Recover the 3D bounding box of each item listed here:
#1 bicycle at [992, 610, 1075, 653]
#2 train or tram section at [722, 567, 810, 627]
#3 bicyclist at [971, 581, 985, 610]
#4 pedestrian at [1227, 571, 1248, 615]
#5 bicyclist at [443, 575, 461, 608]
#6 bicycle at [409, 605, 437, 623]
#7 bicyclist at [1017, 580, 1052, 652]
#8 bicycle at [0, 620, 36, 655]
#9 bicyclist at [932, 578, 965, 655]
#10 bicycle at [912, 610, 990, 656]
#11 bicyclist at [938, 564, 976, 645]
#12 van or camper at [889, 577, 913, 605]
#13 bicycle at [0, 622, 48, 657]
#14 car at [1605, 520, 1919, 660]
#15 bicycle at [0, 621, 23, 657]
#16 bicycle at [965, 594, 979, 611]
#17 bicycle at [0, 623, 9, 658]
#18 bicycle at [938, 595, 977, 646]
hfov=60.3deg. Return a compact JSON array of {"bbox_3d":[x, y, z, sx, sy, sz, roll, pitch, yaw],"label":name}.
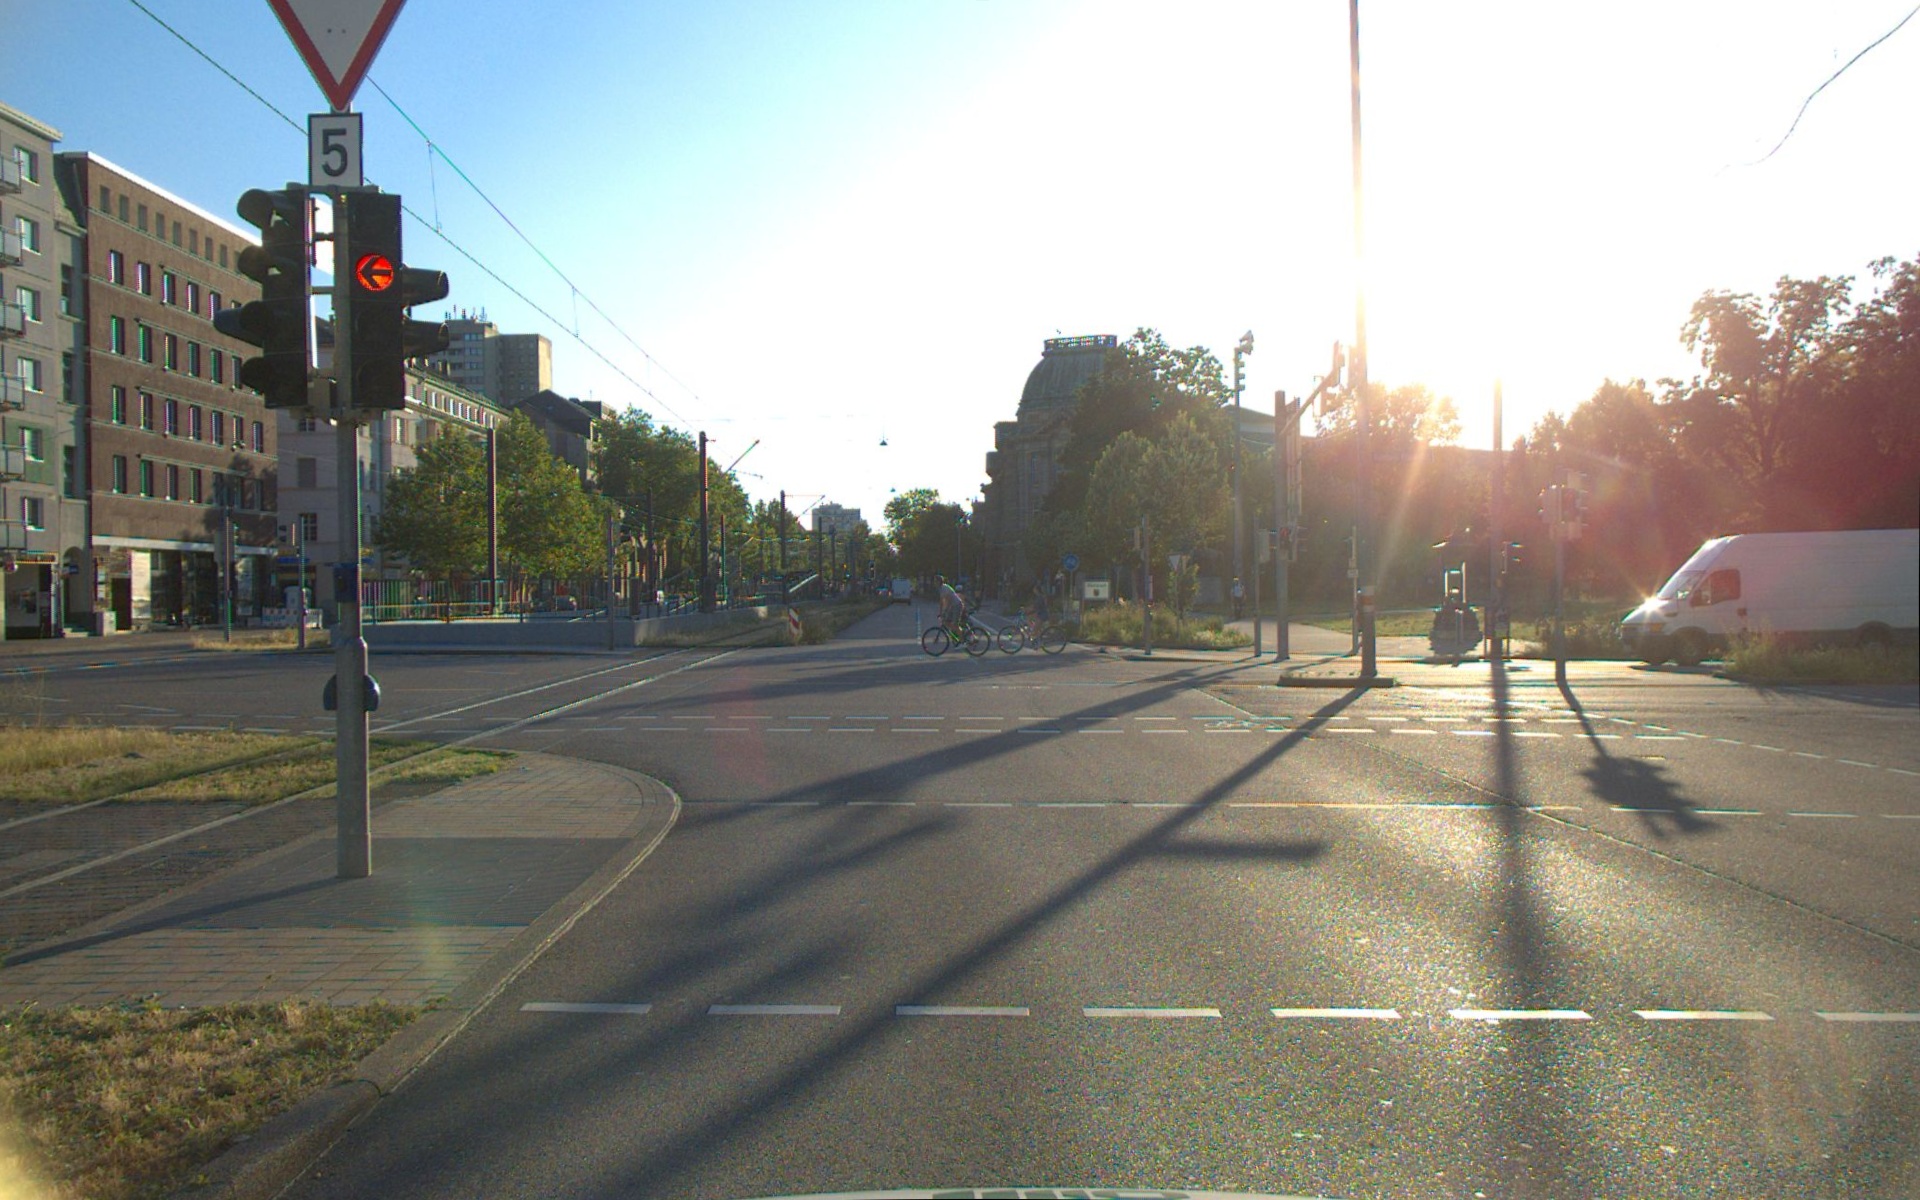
[{"bbox_3d":[1.888,0.804,42.829,2.120,1.102,0.539,0,-1,-1],"label":"bicycle"},{"bbox_3d":[-13.939,-0.332,120.167,4.294,3.916,11.418,-1,2,4],"label":"train or tram section"},{"bbox_3d":[1.257,-0.294,116.568,0.907,2.049,0.850,0,0,-1],"label":"bicyclist"},{"bbox_3d":[11.826,-0.298,70.512,0.815,1.835,0.811,-1,0,14],"label":"pedestrian"},{"bbox_3d":[-32.823,-0.549,106.873,0.780,2.049,0.924,-1,0,1],"label":"bicyclist"},{"bbox_3d":[-29.669,0.771,91.421,0.497,0.961,1.668,-1,0,23],"label":"bicycle"},{"bbox_3d":[1.929,0.418,42.830,0.858,1.850,0.538,-1,0,0],"label":"bicyclist"},{"bbox_3d":[-32.873,1.295,57.000,1.655,1.190,0.748,-1,0,1],"label":"bicycle"},{"bbox_3d":[-0.280,0.391,40.241,0.776,1.850,0.646,-1,0,0],"label":"bicyclist"},{"bbox_3d":[-0.210,0.802,40.251,1.862,1.094,0.632,-1,0,0],"label":"bicycle"},{"bbox_3d":[-0.090,0.124,47.847,1.060,2.316,0.986,0,0,-1],"label":"bicyclist"},{"bbox_3d":[-6.028,-0.882,168.448,2.400,2.819,5.598,-1,0,-3],"label":"van or camper"},{"bbox_3d":[-32.857,1.378,57.732,1.655,1.164,0.697,-1,0,1],"label":"bicycle"},{"bbox_3d":[17.807,-0.223,35.786,6.866,2.877,2.093,-1,0,1],"label":"car"},{"bbox_3d":[-32.901,1.335,56.224,1.655,1.199,0.748,-1,0,1],"label":"bicycle"},{"bbox_3d":[0.852,0.174,116.529,0.905,1.131,2.332,-1,0,-1],"label":"bicycle"},{"bbox_3d":[-32.932,1.377,55.470,1.655,1.173,0.705,-1,0,1],"label":"bicycle"},{"bbox_3d":[-0.095,0.567,47.878,1.075,1.423,2.831,-1,0,-1],"label":"bicycle"}]
